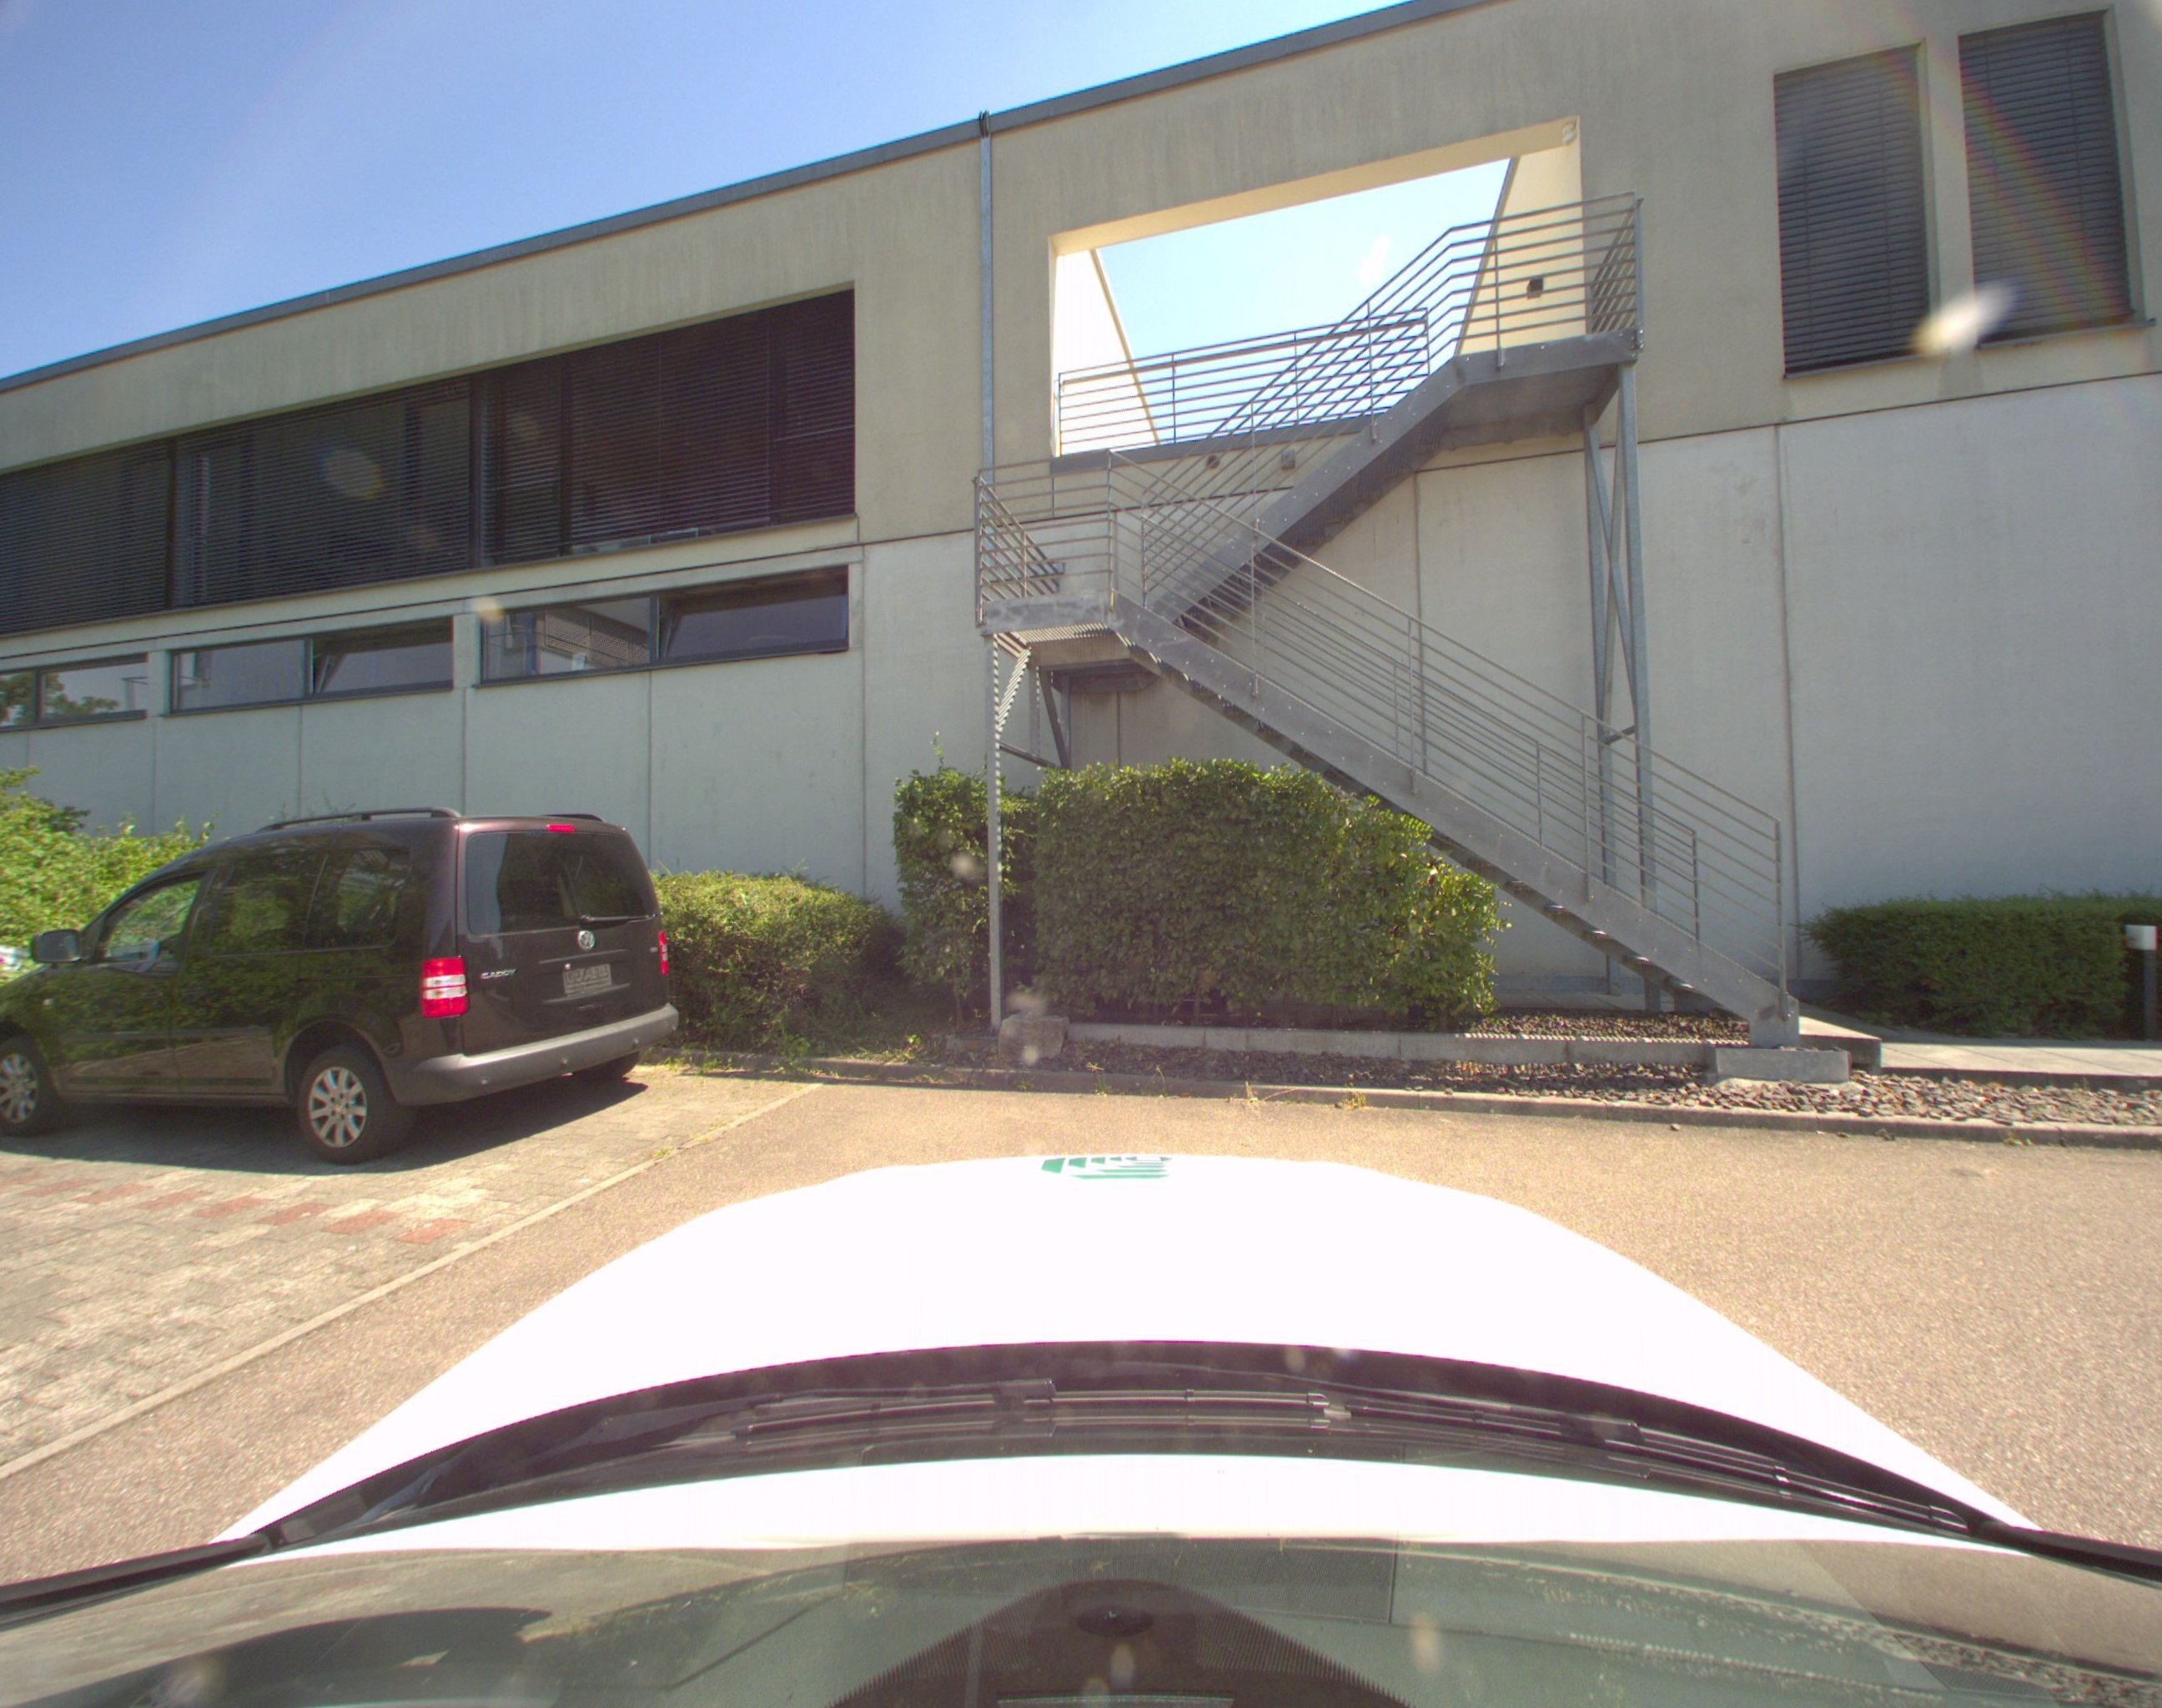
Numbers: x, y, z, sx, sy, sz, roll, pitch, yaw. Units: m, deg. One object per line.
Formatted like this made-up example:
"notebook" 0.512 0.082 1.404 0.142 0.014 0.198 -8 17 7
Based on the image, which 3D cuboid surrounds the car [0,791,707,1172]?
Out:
"car" -4.781 0.675 5.380 4.027 1.884 1.686 -1 -1 16
